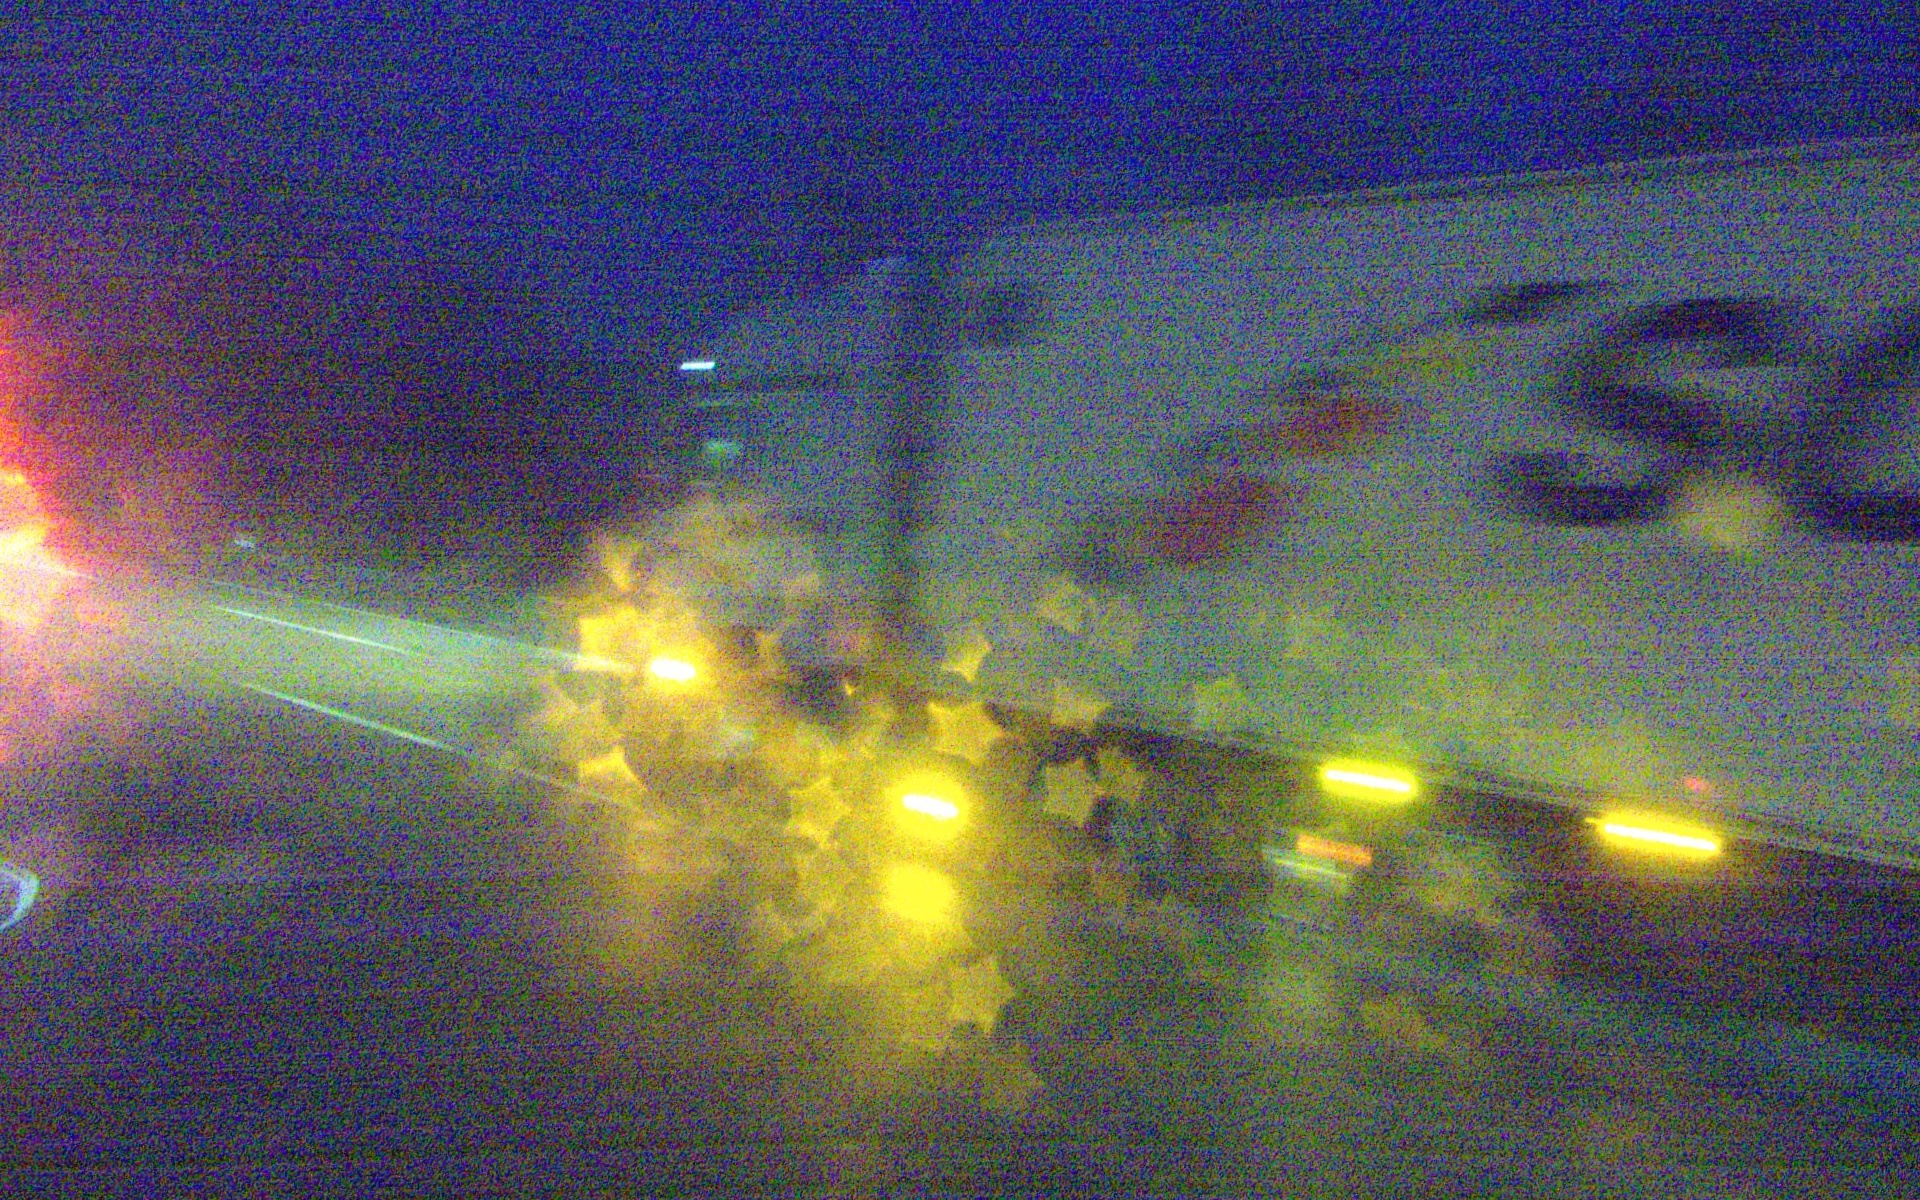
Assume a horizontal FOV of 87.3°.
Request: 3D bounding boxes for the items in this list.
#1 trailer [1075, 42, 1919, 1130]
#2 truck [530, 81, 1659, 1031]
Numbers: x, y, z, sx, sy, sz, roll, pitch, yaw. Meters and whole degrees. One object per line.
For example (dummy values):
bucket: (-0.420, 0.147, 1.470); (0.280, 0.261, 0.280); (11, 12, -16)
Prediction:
trailer: (6.660, 0.284, 3.787); (11.895, 4.262, 2.808); (7, -1, 32)
truck: (0.495, -0.442, 7.660); (7.324, 4.317, 2.808); (7, -1, 32)
